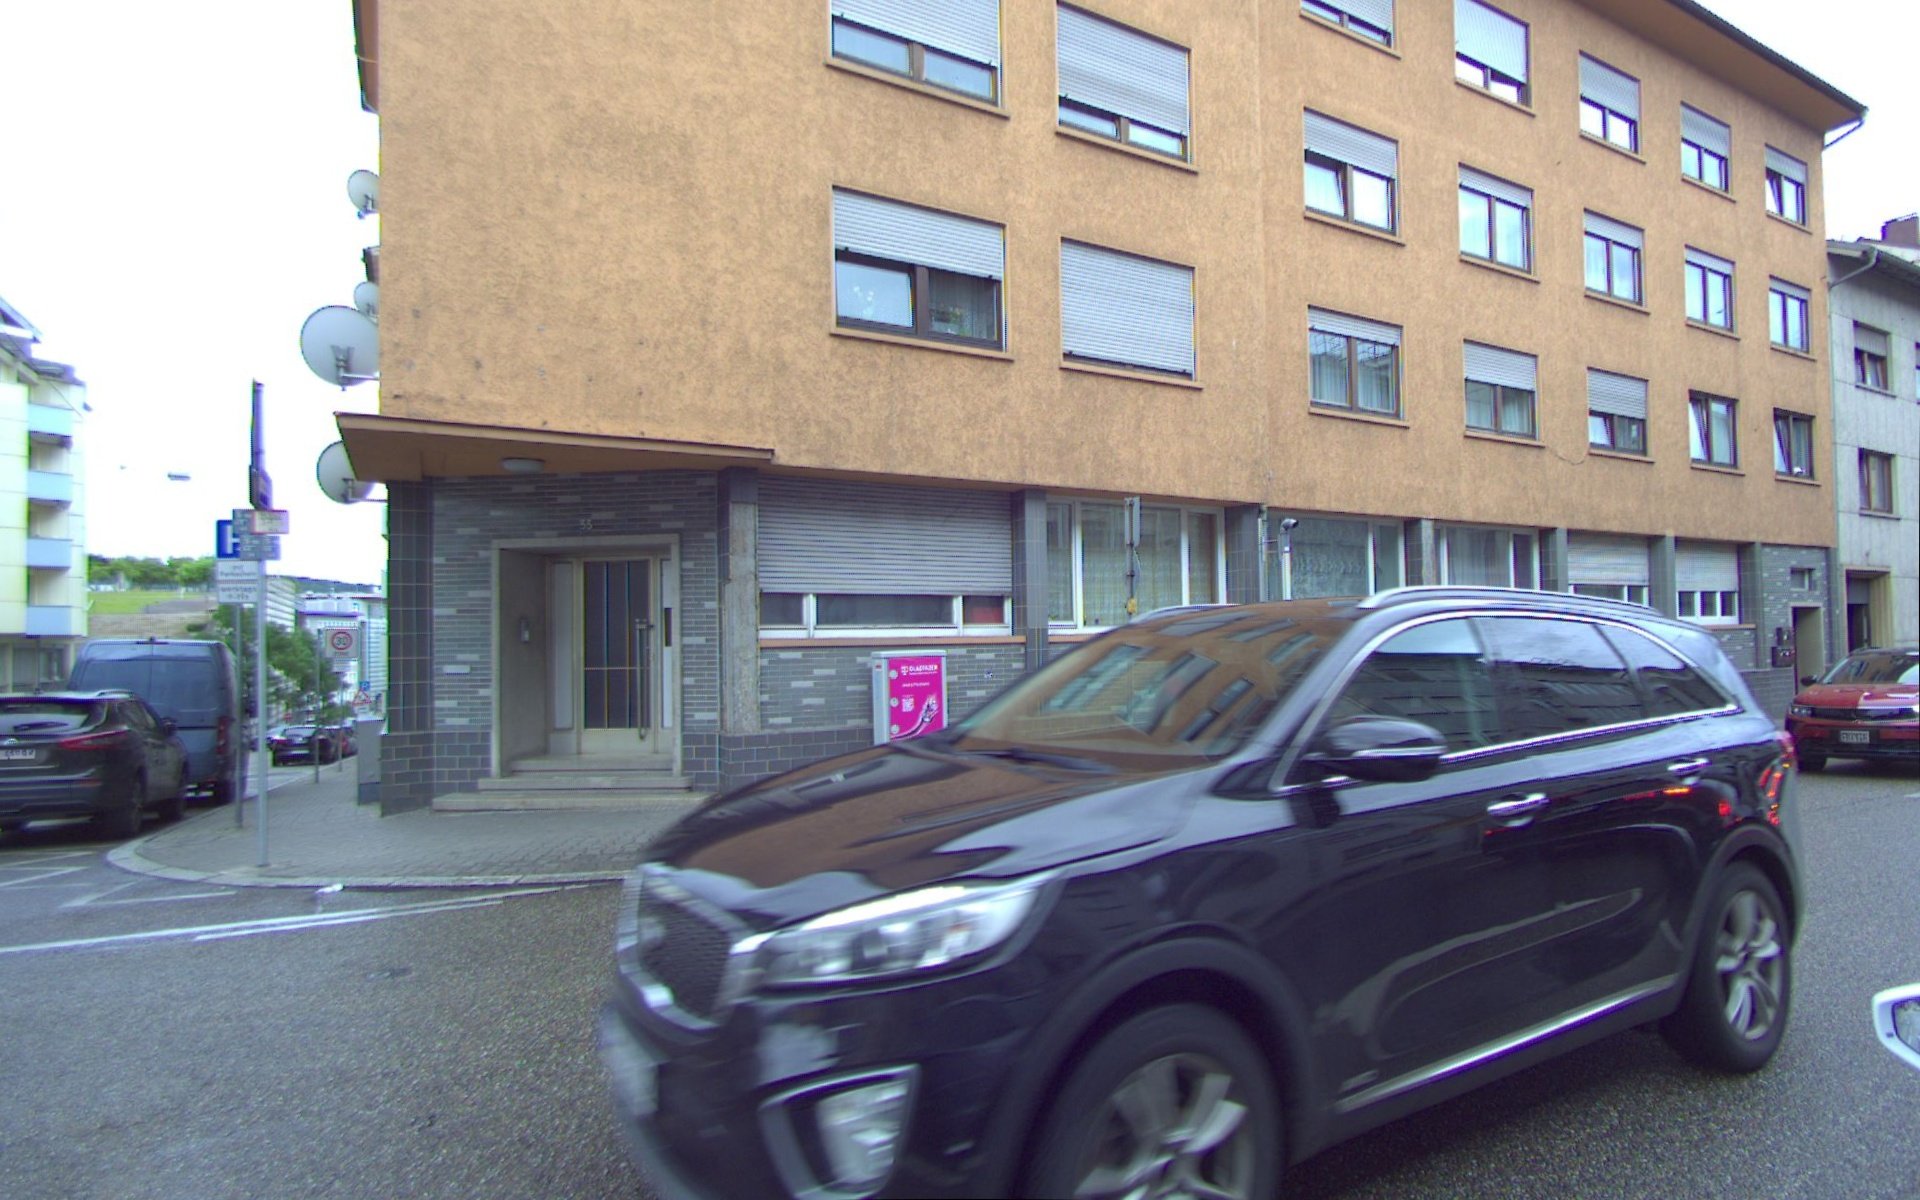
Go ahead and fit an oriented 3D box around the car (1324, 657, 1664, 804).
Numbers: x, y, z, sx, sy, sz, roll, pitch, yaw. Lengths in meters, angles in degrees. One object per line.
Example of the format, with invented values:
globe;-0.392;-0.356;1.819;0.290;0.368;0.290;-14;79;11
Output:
car;6.906;1.530;12.866;4.475;1.457;1.786;1;0;-31

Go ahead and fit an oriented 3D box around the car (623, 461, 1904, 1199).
car;1.271;0.755;3.570;4.423;1.749;1.828;1;-5;-31

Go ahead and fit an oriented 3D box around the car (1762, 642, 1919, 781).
car;12.618;1.386;13.312;4.269;1.605;1.788;2;-4;-33

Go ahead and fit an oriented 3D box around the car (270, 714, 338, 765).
car;-24.394;5.199;37.447;1.796;1.696;4.026;1;-7;-29

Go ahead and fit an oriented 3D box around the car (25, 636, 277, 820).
car;-13.197;2.095;16.894;2.223;2.492;6.017;1;-7;-29

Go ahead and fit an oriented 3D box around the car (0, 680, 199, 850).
car;-10.171;1.833;11.402;1.820;1.596;4.127;1;-8;-29
